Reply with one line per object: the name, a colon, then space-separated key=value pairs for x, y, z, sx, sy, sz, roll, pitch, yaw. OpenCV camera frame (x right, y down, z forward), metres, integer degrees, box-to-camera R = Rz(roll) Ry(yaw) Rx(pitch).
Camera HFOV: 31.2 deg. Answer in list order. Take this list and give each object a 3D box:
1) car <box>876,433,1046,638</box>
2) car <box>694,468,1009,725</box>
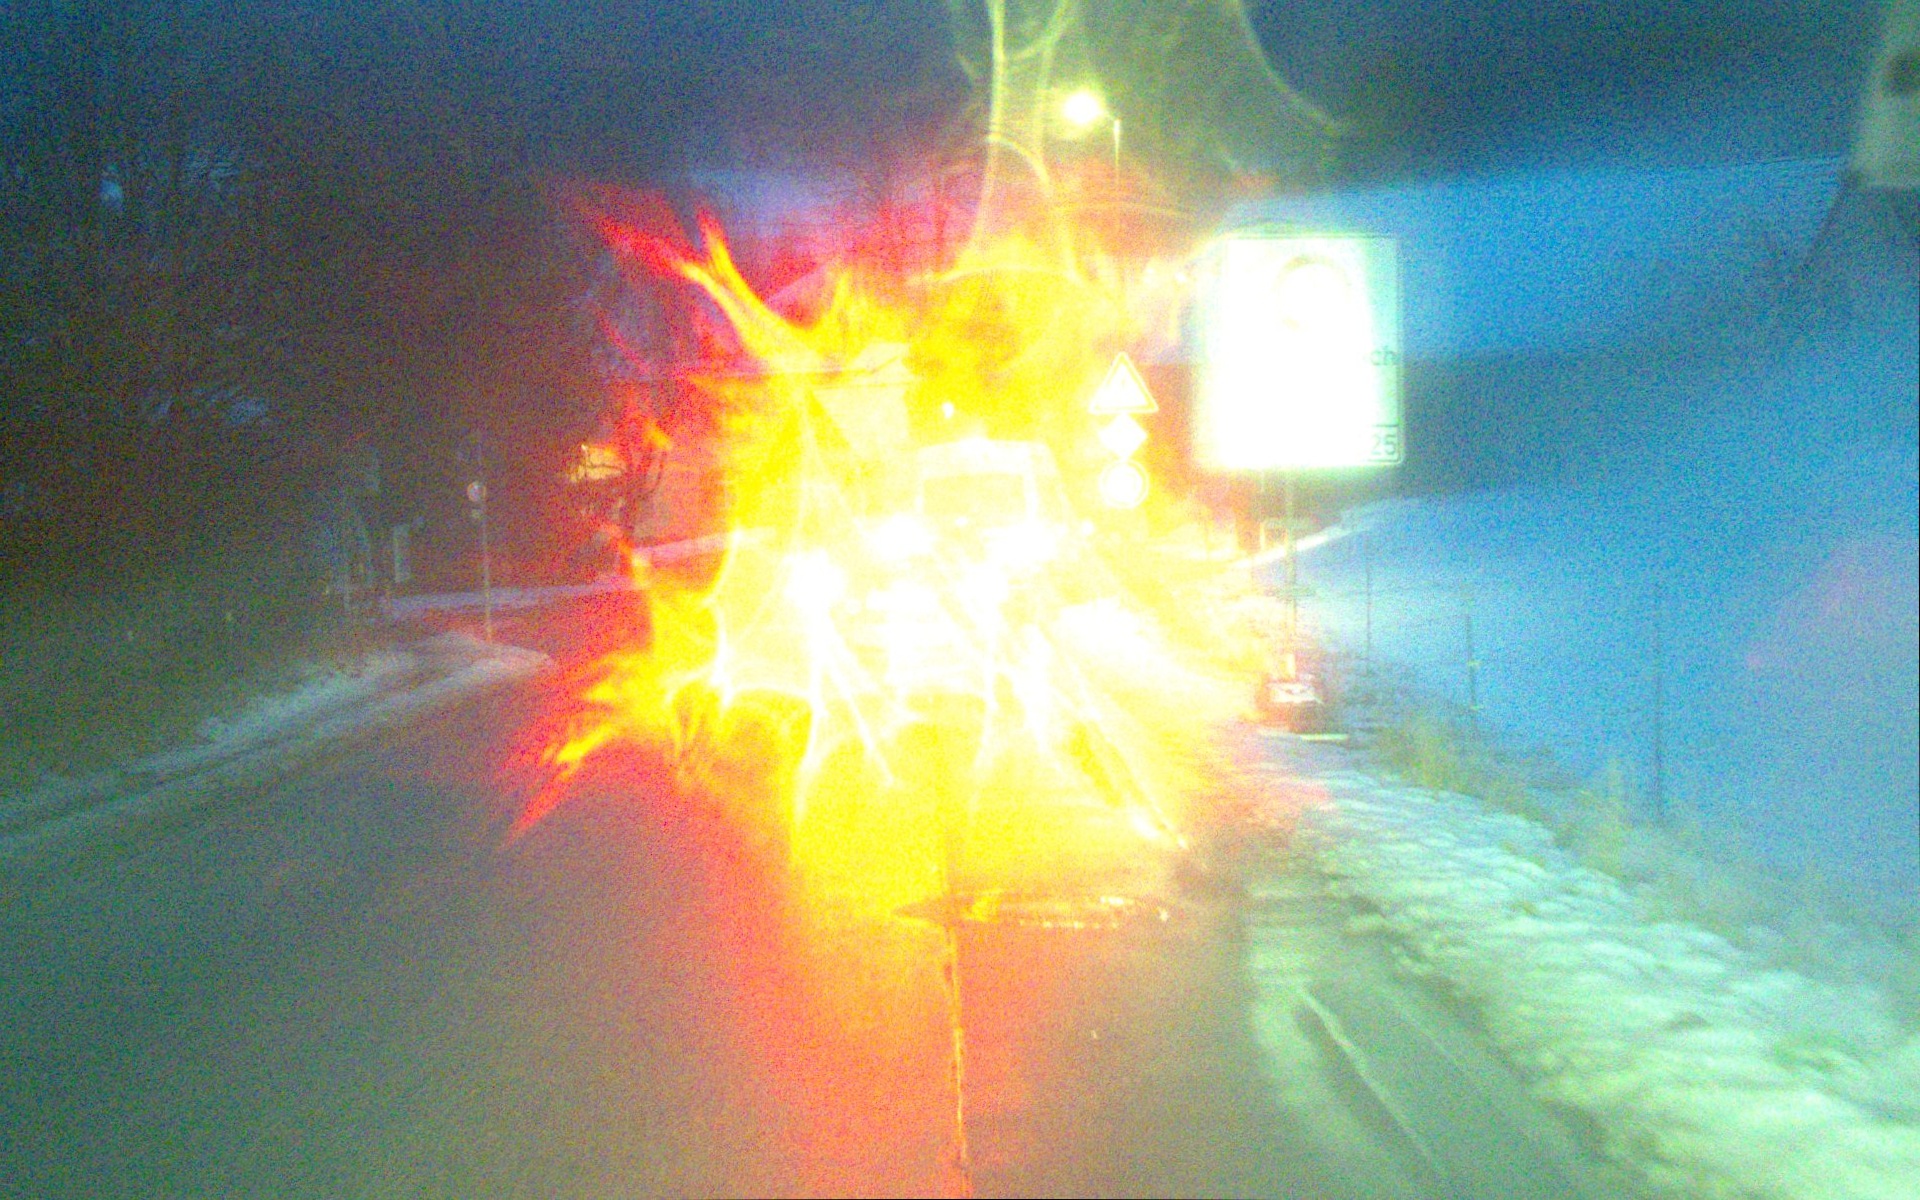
car: x=0.041 y=-0.993 z=55.112 sx=2.435 sy=3.008 sz=5.325 roll=-3 pitch=0 yaw=1
car: x=-0.896 y=-0.089 z=27.880 sx=2.274 sy=1.834 sz=5.007 roll=-2 pitch=1 yaw=-2
